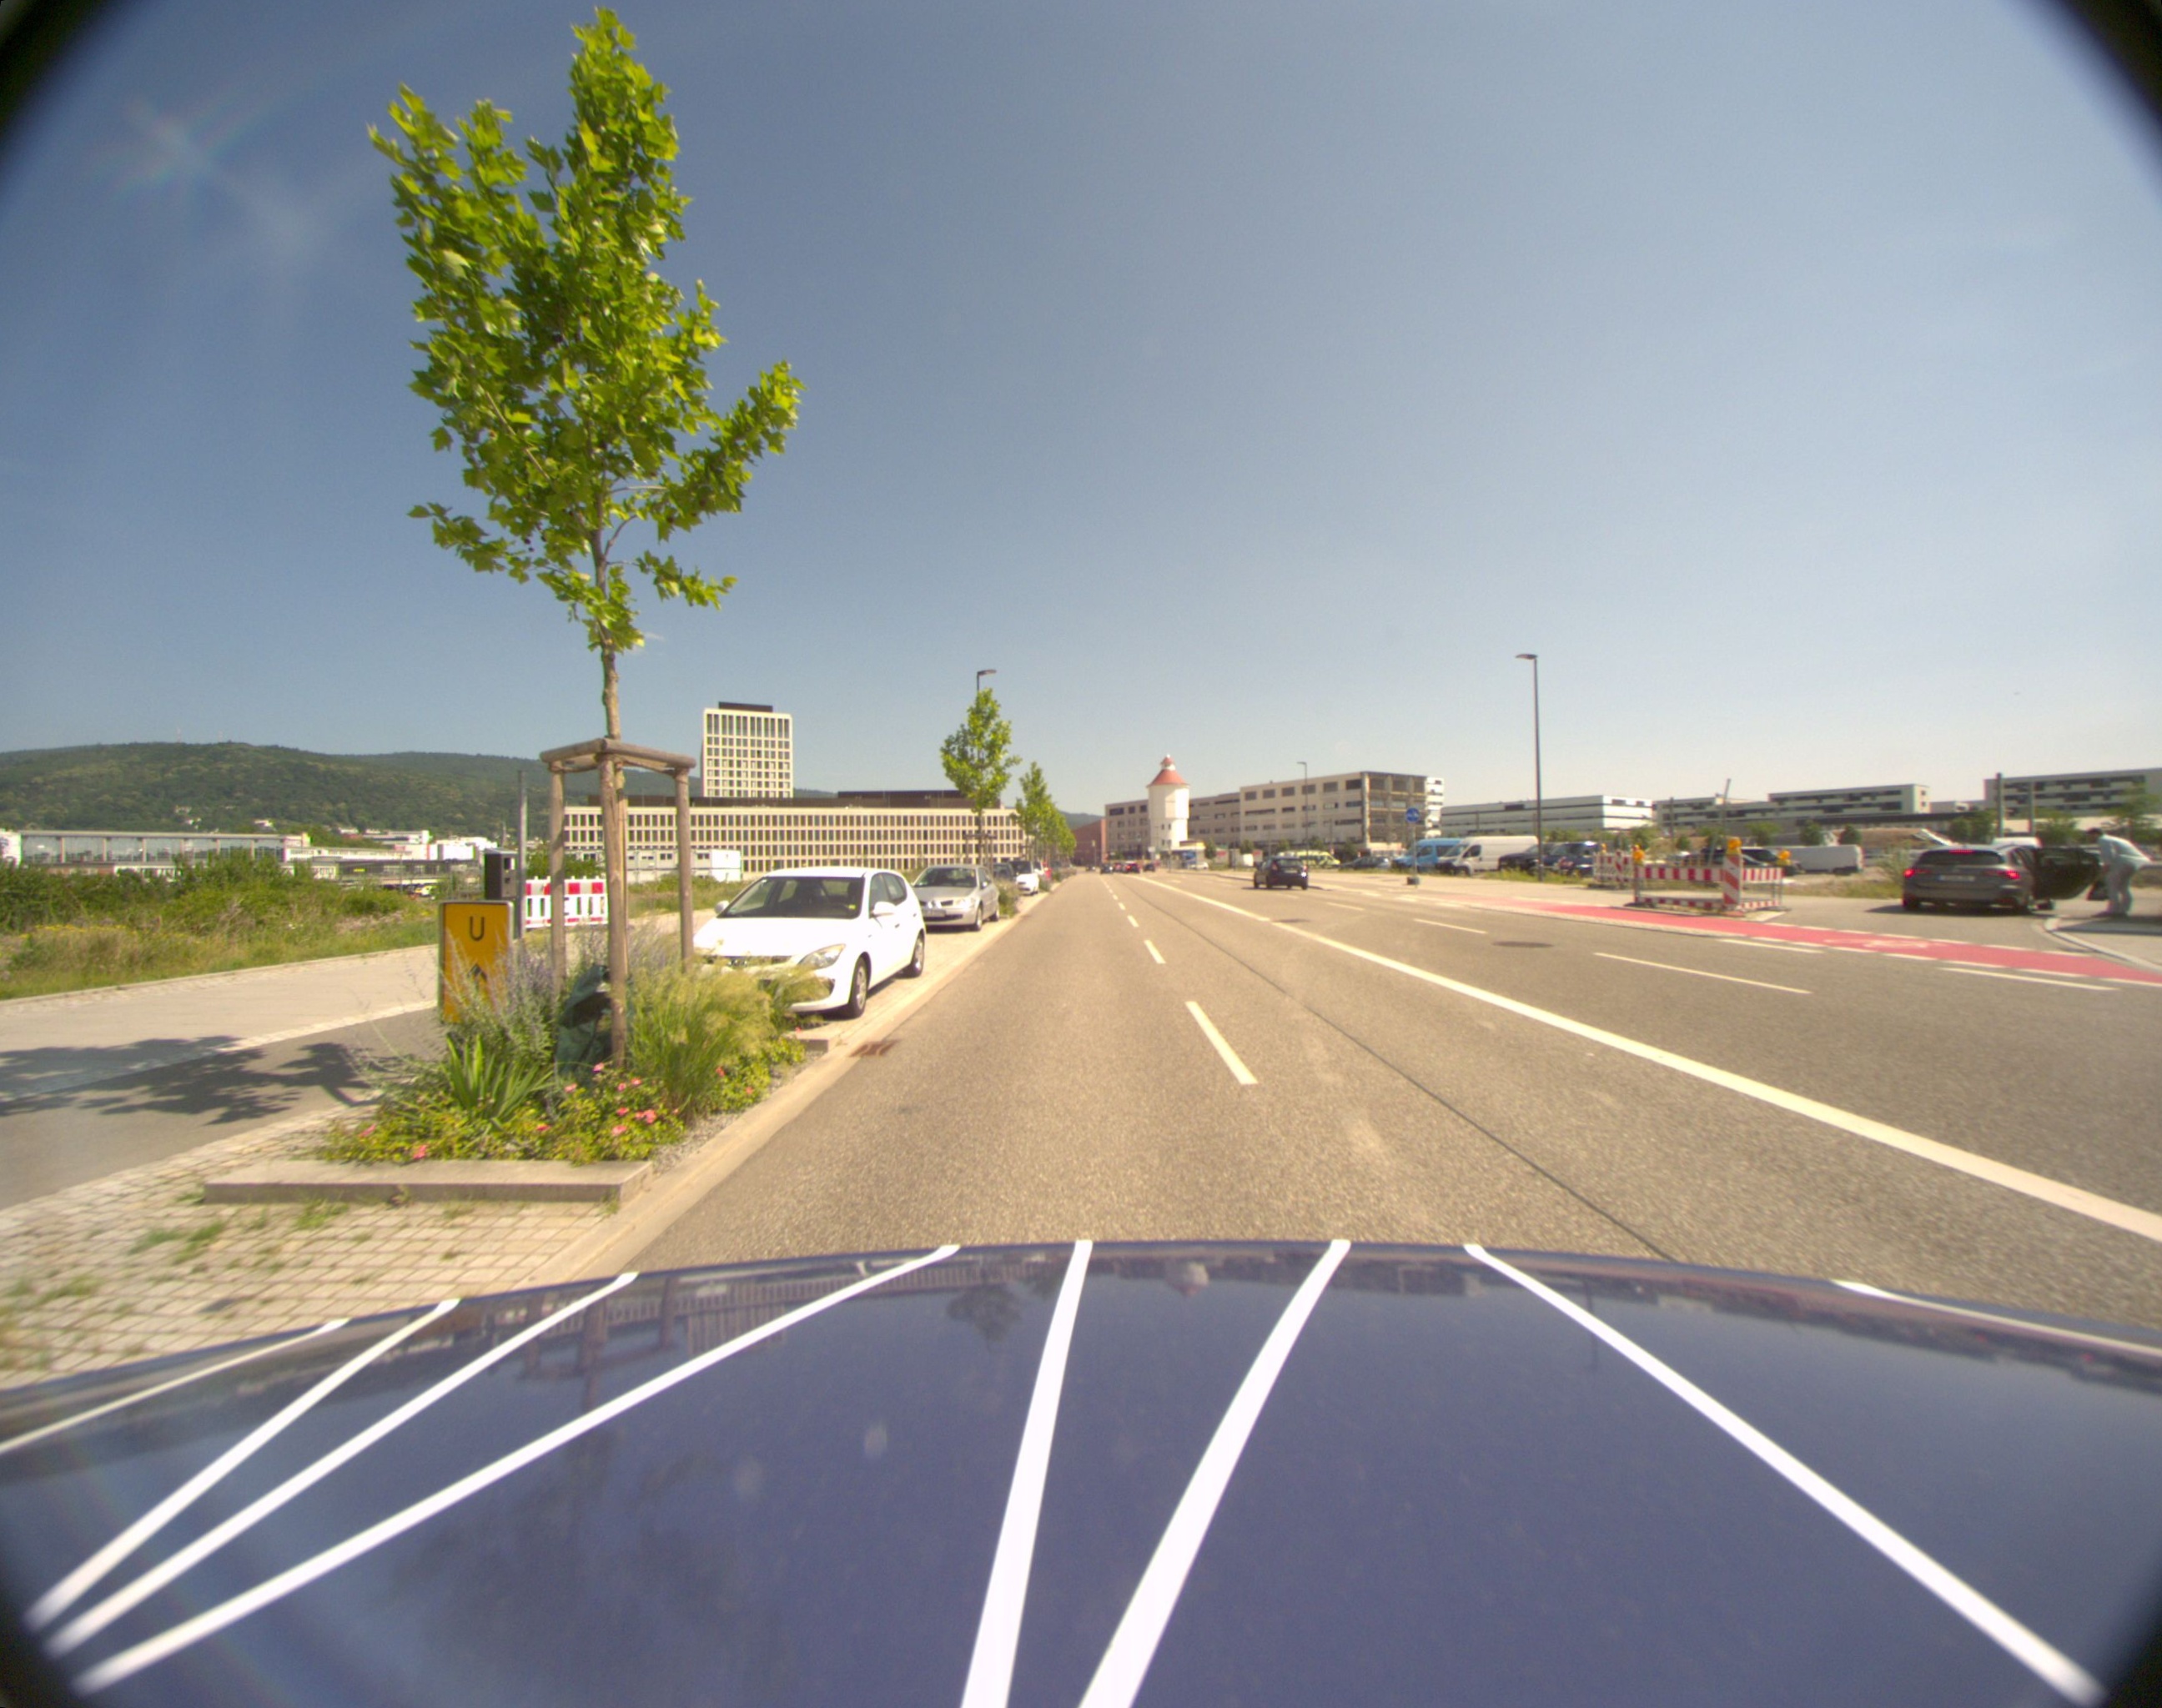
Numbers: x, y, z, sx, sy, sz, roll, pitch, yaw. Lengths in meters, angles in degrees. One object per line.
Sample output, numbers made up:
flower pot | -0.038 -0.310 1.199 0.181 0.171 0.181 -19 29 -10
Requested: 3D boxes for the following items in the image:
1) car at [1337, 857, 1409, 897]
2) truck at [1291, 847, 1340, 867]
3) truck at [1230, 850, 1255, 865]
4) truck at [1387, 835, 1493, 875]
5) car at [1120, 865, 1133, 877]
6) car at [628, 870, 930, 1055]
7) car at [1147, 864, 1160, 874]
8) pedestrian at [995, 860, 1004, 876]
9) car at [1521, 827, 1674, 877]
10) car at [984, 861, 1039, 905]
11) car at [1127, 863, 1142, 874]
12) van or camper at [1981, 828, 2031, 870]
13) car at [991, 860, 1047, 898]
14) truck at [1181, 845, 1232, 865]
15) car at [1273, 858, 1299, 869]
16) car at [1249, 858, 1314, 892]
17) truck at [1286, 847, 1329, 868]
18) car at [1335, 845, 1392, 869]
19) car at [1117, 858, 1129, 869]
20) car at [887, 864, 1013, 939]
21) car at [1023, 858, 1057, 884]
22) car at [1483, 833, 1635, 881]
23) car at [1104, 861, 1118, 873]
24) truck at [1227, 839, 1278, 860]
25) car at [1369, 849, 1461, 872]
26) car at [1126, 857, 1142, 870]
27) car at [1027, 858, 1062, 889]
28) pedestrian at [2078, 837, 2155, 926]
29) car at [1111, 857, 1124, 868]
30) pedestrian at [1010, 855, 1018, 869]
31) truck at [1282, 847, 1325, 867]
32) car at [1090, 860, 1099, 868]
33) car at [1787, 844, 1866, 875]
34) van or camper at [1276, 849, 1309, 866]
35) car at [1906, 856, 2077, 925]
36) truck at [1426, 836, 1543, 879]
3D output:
car | 11.826 0.873 31.001 1.611 1.468 3.678 1 1 2
truck | 35.600 0.430 115.480 6.654 2.809 2.602 -2 0 -2
truck | 30.516 0.684 143.713 2.174 2.639 5.938 -1 0 -14
truck | 24.028 0.093 50.971 6.019 2.528 2.275 -1 0 1
car | 6.968 2.652 116.759 1.790 1.411 4.286 -5 -5 1
car | -2.991 0.970 8.525 1.750 1.500 4.001 -1 0 0
car | 12.652 2.551 132.959 1.907 1.618 4.387 -1 0 1
pedestrian | -8.587 1.452 80.221 0.782 1.695 0.742 -1 0 1
car | 23.591 -0.071 34.845 5.458 2.160 2.395 -1 0 -3
car | -2.500 1.029 28.327 1.794 1.468 4.371 -1 0 -3
car | 7.006 1.903 99.328 1.791 1.390 4.572 -1 0 2
van or camper | 59.521 -0.308 48.948 5.941 2.543 1.930 0 0 -40
car | -2.722 1.069 34.414 1.913 1.568 4.159 -1 0 4
truck | 28.714 0.219 173.654 10.987 4.044 3.297 -3 1 -17
car | 35.377 1.654 131.137 3.876 1.748 1.657 -2 -1 -3
car | 8.682 0.872 33.222 1.708 1.344 4.456 -1 0 1
truck | 35.249 0.534 118.443 5.850 2.808 2.570 -3 1 0
car | 22.714 0.239 61.155 3.994 1.892 1.829 -1 0 8
car | 6.829 1.565 123.862 1.783 1.672 4.100 2 -1 1
car | -2.840 0.998 17.497 1.913 1.470 4.159 -1 0 4
car | -2.463 1.059 46.554 1.722 1.442 4.001 -3 -1 0
car | 23.384 0.162 37.417 5.896 2.153 2.396 -1 0 3
car | 4.108 1.779 103.834 1.783 1.552 3.832 -1 0 0
truck | 39.878 -1.107 176.394 10.951 4.251 3.341 -3 1 -11
car | 24.018 0.458 54.778 5.666 1.465 2.107 -1 0 -2
car | 7.362 1.337 106.294 1.918 1.640 4.731 -1 0 1
car | -1.990 1.060 42.391 1.722 1.516 3.641 1 1 1
pedestrian | 20.237 0.521 14.870 0.685 1.674 0.757 -2 1 36
car | 6.284 1.502 131.907 1.945 1.778 4.655 -1 0 -2
pedestrian | -8.062 0.988 91.413 0.733 1.695 0.651 -3 1 1
truck | 36.027 0.399 123.280 6.160 2.884 2.570 -3 1 1
car | 2.817 1.991 155.777 1.783 1.552 3.833 -1 0 2
car | 57.970 0.435 59.146 2.003 2.227 3.991 -2 -1 -34
van or camper | 35.509 0.602 127.606 4.912 2.646 2.260 -2 0 0
car | 20.027 0.721 16.680 4.255 1.310 1.995 0 -1 -34
truck | 23.300 0.192 44.001 5.581 2.348 2.275 -1 0 -1
